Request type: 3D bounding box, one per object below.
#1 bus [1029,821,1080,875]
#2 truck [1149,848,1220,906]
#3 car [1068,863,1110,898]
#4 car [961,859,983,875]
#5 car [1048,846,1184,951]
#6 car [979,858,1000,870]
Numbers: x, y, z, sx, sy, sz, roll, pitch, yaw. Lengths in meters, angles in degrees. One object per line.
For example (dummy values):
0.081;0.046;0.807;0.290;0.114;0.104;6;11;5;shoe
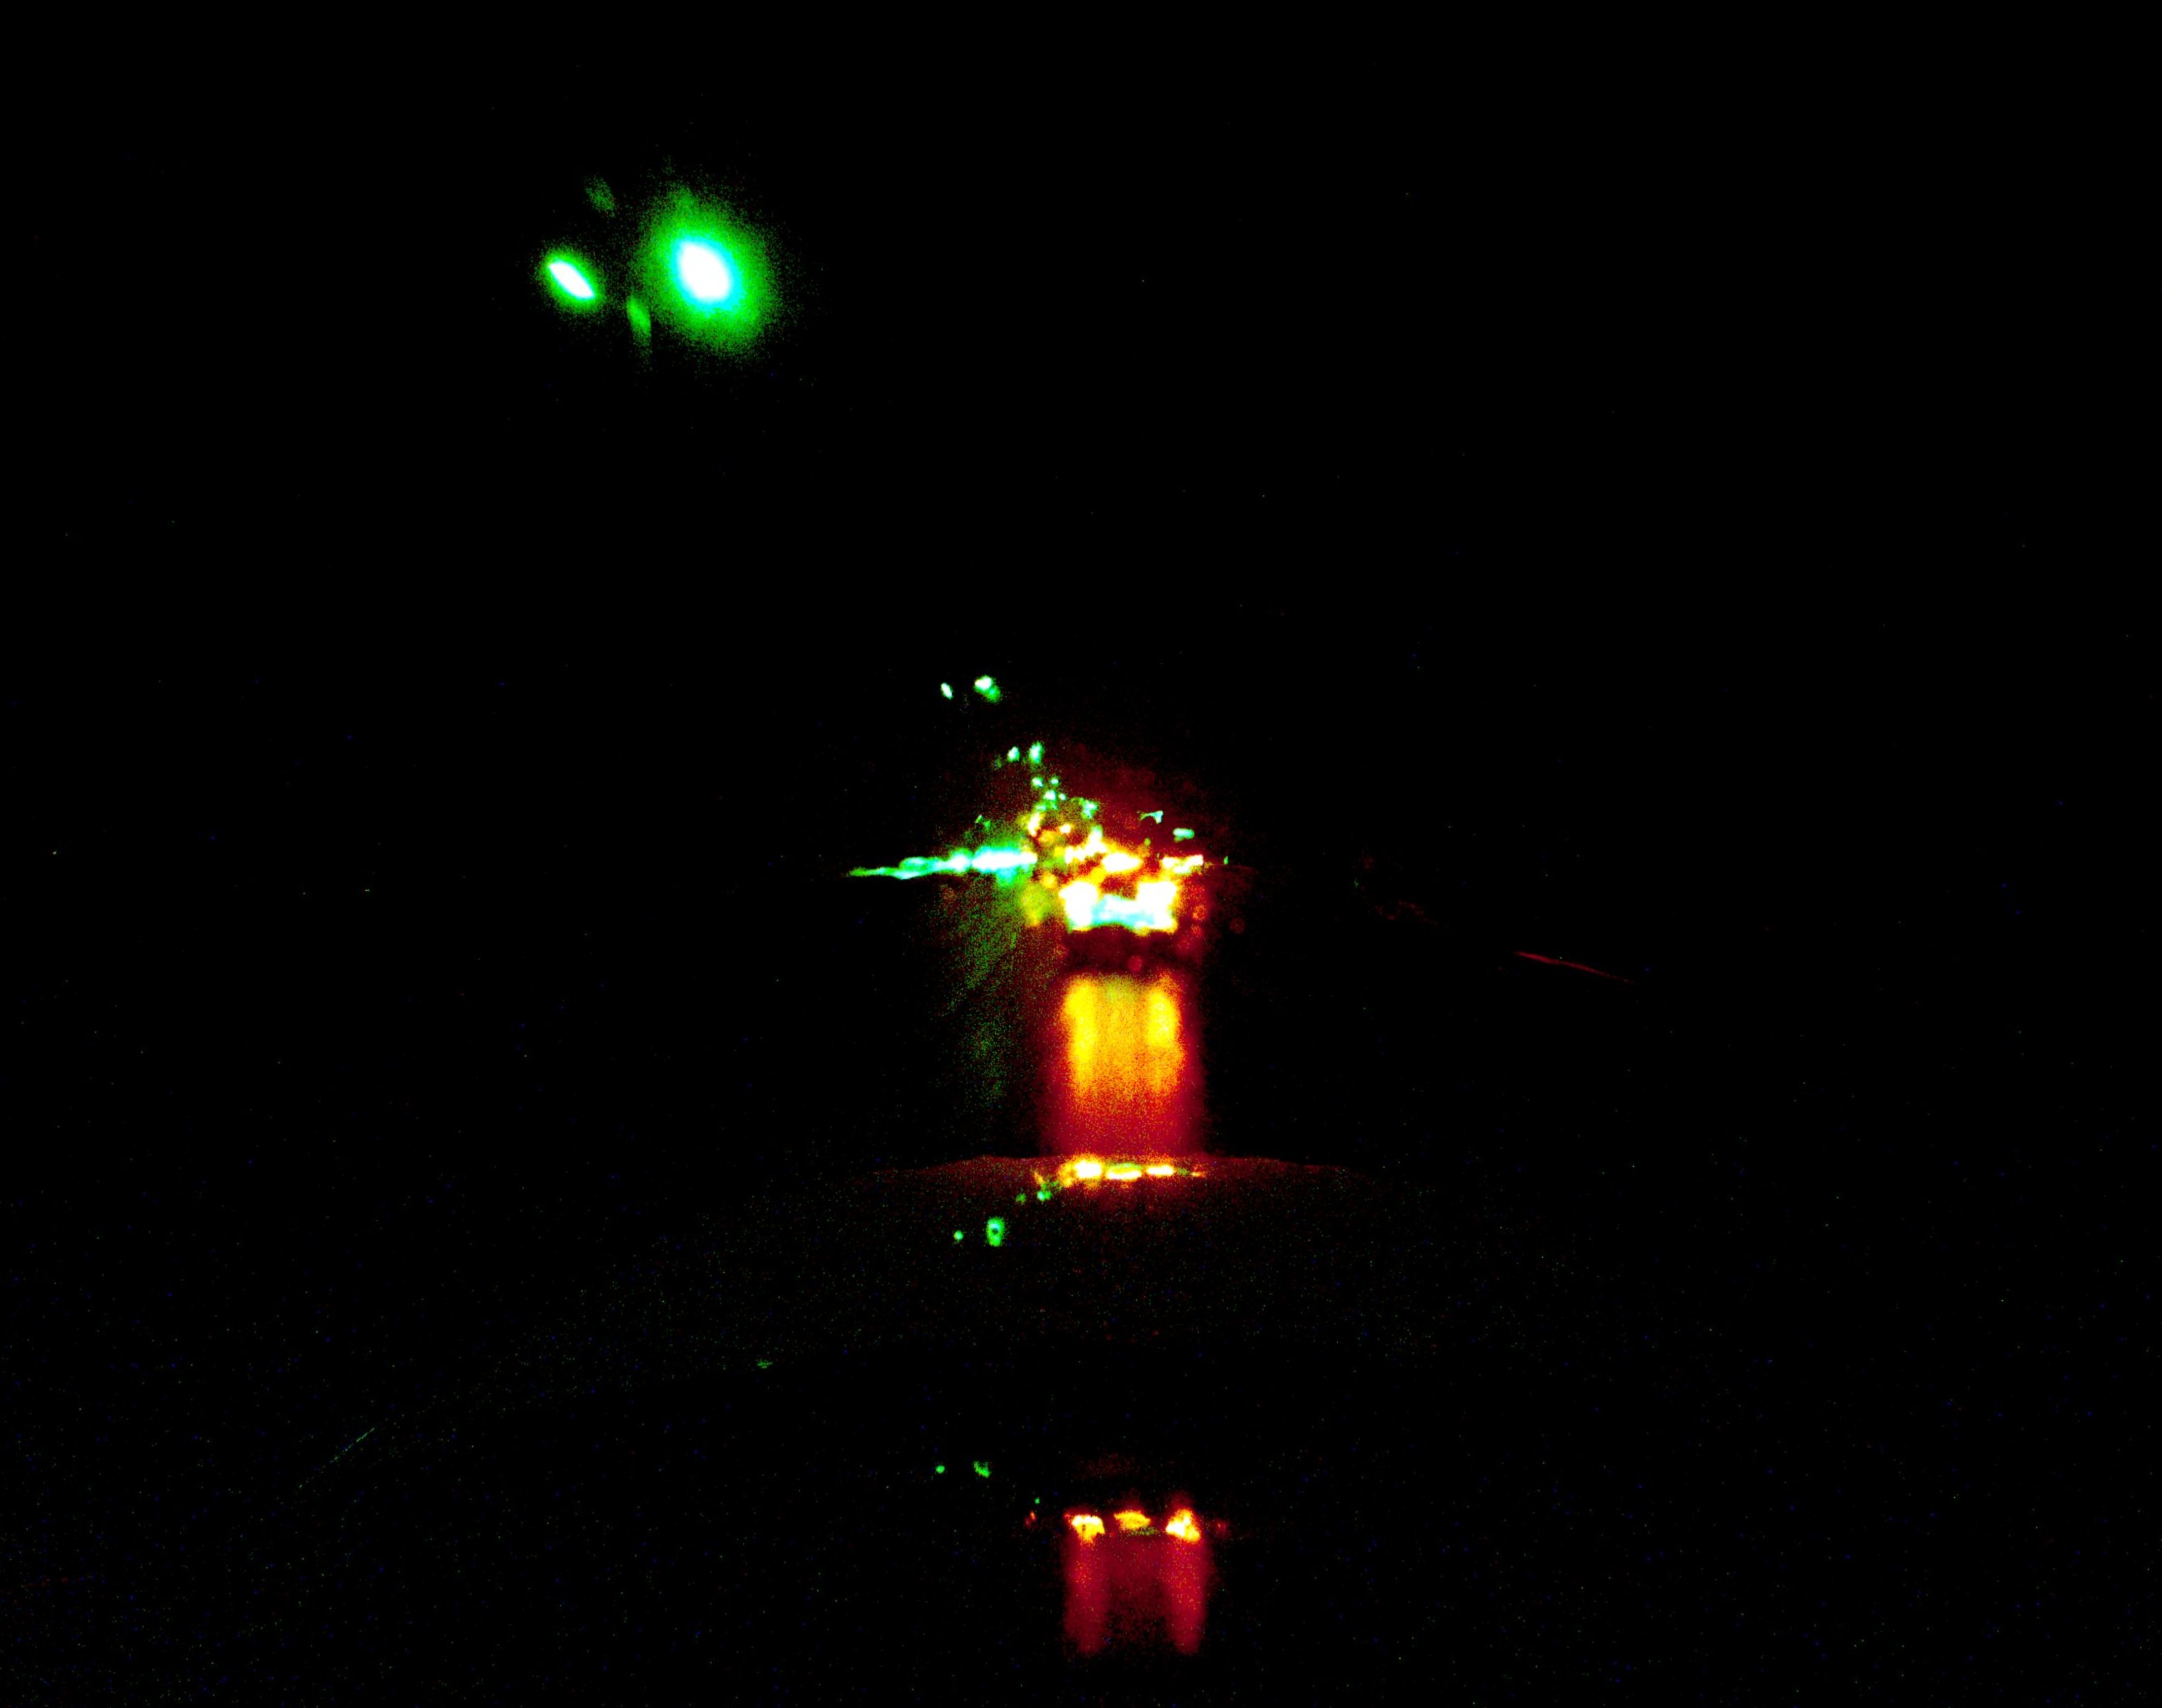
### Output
-1.563;-0.404;52.094;2.734;3.123;9.203;0;0;1;bus
4.961;1.054;39.113;3.053;2.528;7.180;0;-1;7;truck
0.403;1.152;37.010;1.815;1.461;3.717;-1;0;2;car
-10.831;1.315;81.038;1.594;1.552;3.835;0;-1;2;car
0.706;0.643;13.502;1.934;1.491;3.723;-1;0;6;car
-11.544;1.261;103.084;2.016;1.502;4.897;0;-1;1;car
